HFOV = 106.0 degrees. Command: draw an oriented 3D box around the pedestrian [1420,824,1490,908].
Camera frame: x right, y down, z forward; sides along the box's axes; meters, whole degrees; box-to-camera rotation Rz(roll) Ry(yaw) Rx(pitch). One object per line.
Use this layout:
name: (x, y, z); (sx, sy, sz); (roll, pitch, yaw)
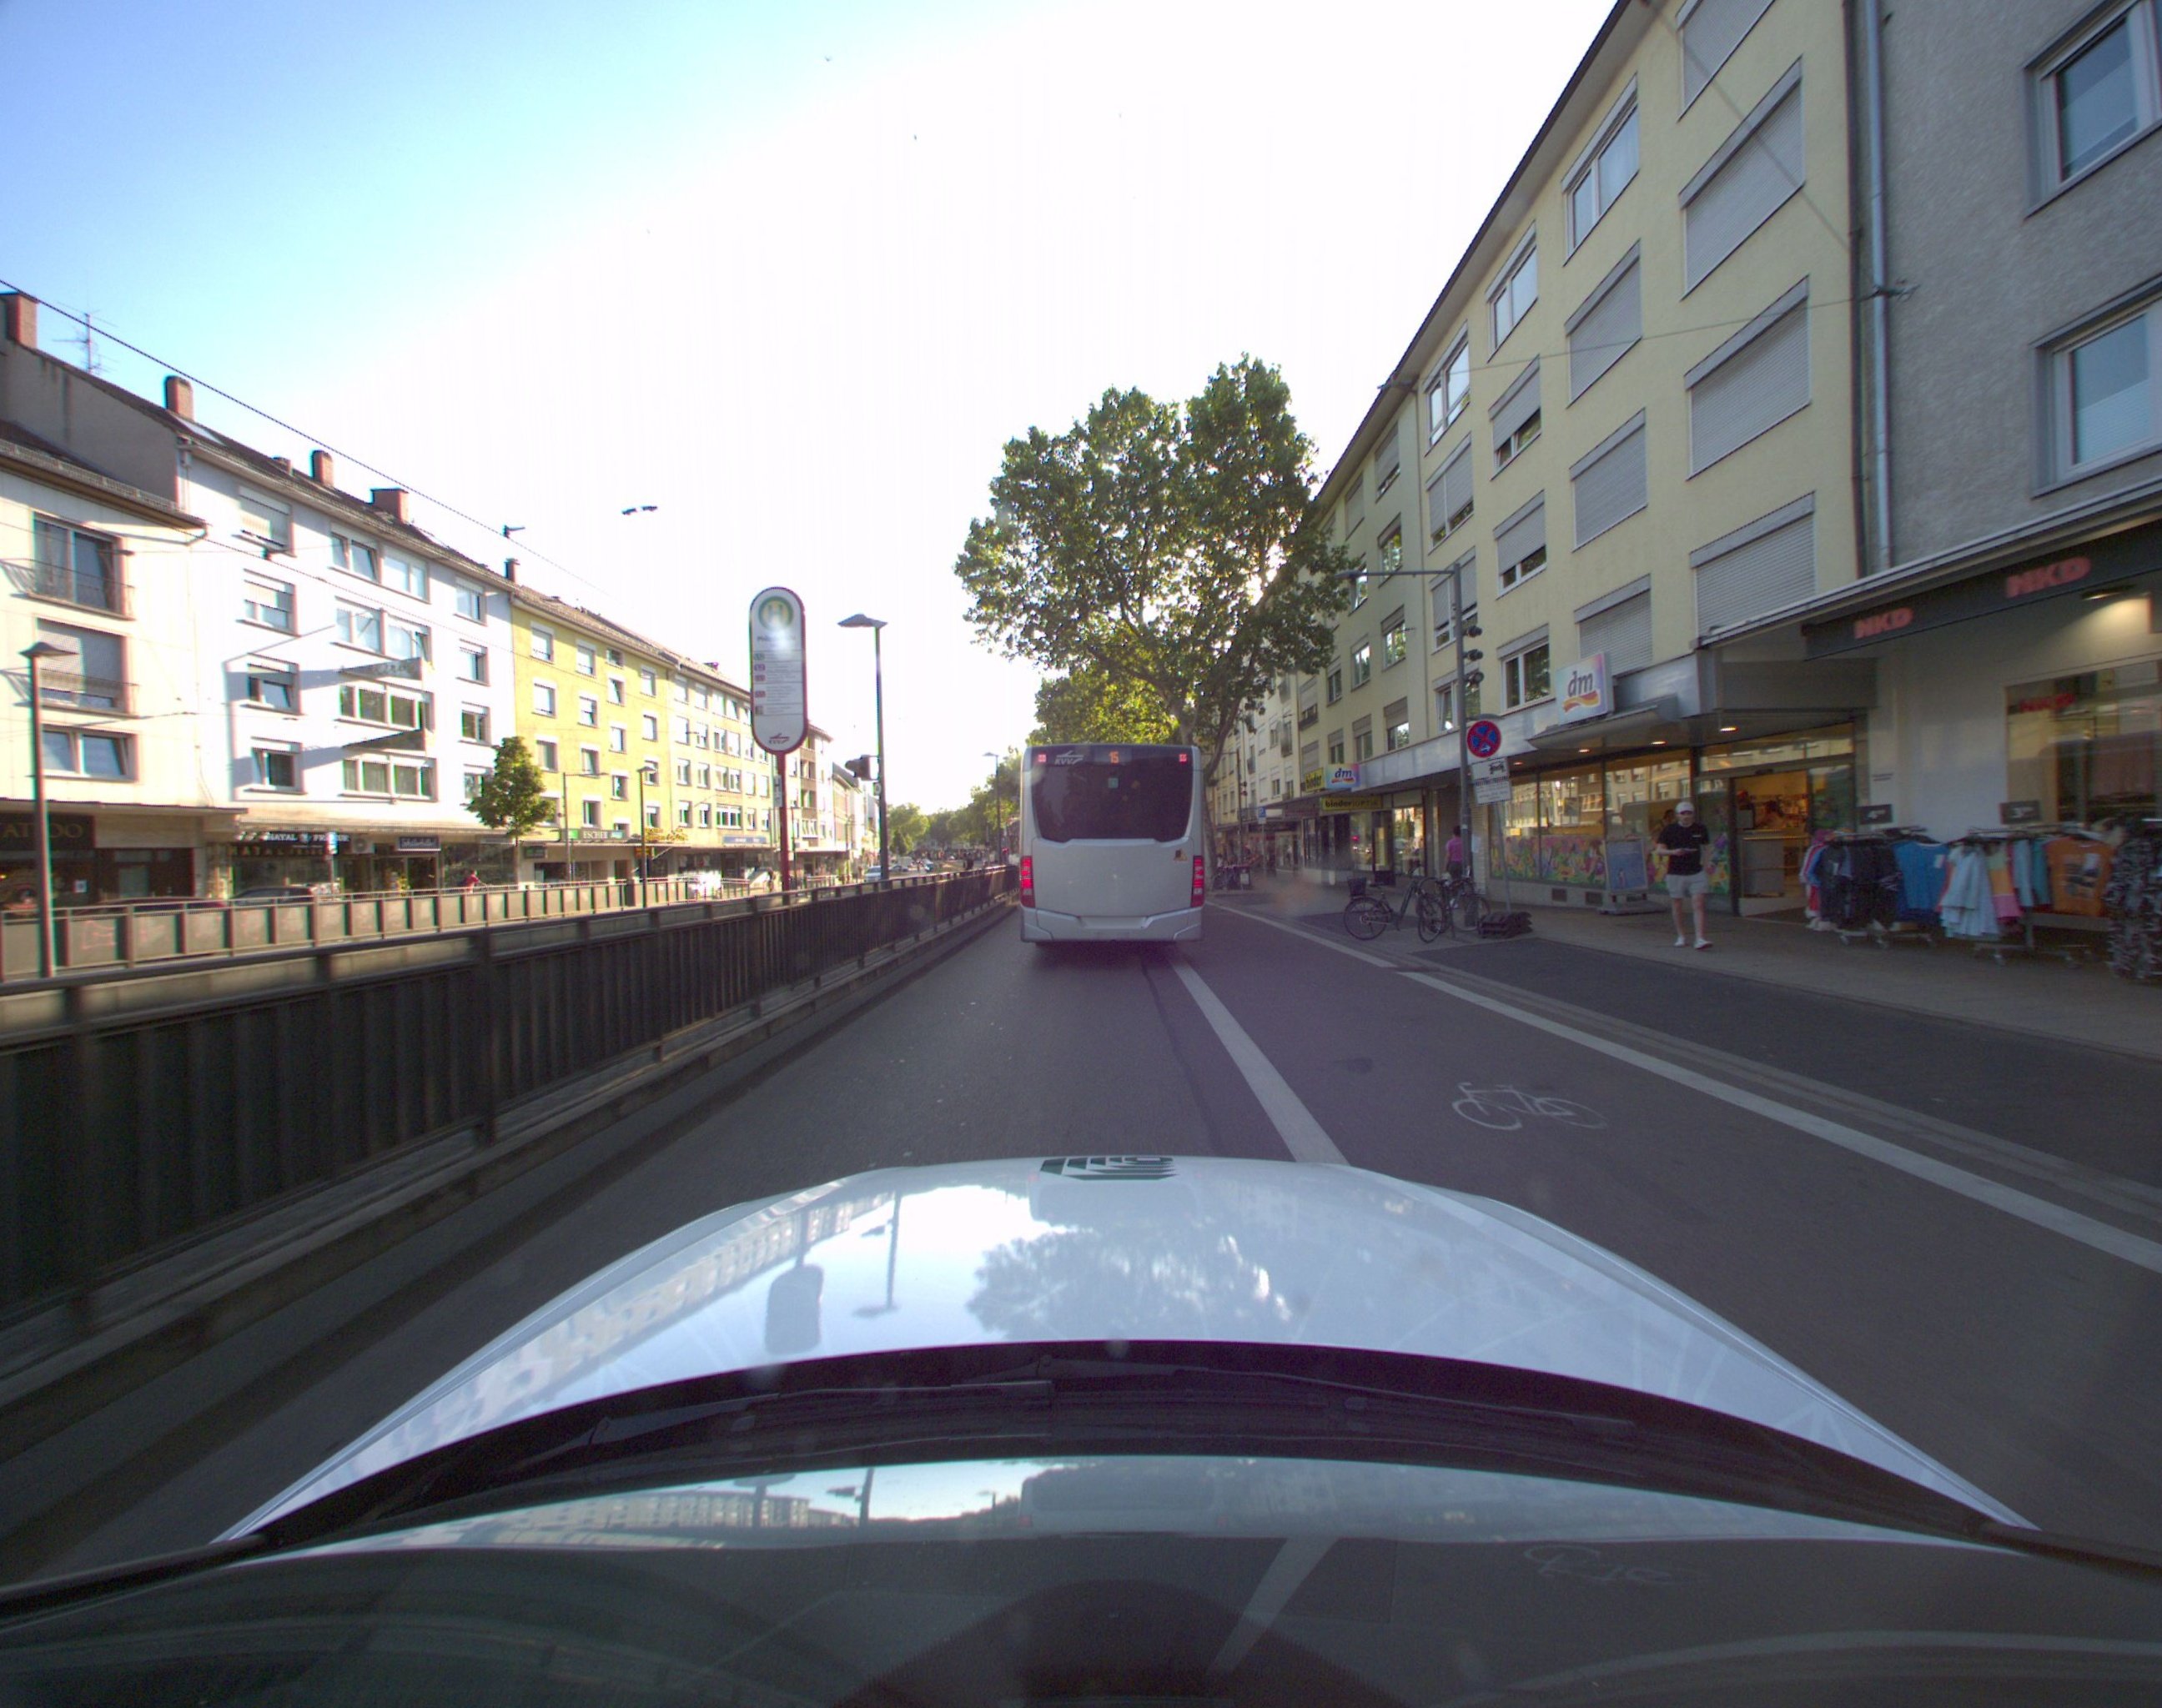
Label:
pedestrian: (8.233, 0.265, 17.981); (0.964, 1.763, 1.134); (-3, -1, 1)

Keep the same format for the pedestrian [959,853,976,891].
pedestrian: (-5.641, 0.880, 40.559); (0.740, 1.849, 0.589); (-2, 0, -5)

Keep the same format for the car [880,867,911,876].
car: (-31.293, 2.909, 137.380); (4.577, 1.412, 1.976); (-1, -1, -43)

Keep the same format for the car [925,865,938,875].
car: (-24.041, 2.594, 131.079); (1.720, 1.509, 3.469); (-4, 0, -5)

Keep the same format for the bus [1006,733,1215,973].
bus: (0.330, -0.002, 14.267); (2.670, 3.083, 7.110); (-2, 0, -1)

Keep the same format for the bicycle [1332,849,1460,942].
bicycle: (5.263, 0.692, 13.723); (1.775, 1.311, 0.696); (-8, -1, 12)

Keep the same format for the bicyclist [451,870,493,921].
bicyclist: (-23.465, 1.576, 31.387); (0.689, 1.886, 1.059); (2, 0, 6)

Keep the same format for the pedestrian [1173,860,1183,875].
pedestrian: (7.842, 1.108, 65.942); (0.605, 1.225, 0.743); (-1, -1, -6)

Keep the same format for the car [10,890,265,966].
car: (-22.160, 1.663, 19.296); (1.840, 1.491, 3.793); (0, -1, 39)

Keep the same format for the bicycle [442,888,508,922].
bicycle: (-23.455, 1.951, 31.590); (0.702, 1.159, 2.202); (2, 1, 6)

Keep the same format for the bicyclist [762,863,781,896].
bicyclist: (-19.842, 1.630, 52.226); (0.761, 2.013, 0.911); (-2, 0, 0)

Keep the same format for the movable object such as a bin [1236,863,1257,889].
movable object such as a bin: (7.003, 0.935, 34.519); (0.716, 1.072, 0.647); (-4, -1, 19)

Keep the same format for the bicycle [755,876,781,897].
bicycle: (-19.857, 2.026, 51.697); (0.715, 1.230, 2.278); (-2, 0, 0)

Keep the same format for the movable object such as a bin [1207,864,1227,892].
movable object such as a bin: (5.790, 1.014, 34.772); (0.718, 1.102, 0.645); (-6, -1, 7)

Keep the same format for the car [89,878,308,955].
car: (-23.341, 1.565, 21.648); (1.840, 1.800, 3.793); (0, -1, 39)

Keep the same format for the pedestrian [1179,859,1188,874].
pedestrian: (8.490, 1.051, 67.638); (0.582, 1.275, 0.757); (0, -1, -6)

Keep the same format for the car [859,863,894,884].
car: (-18.294, 1.673, 72.888); (1.987, 1.717, 4.434); (-2, 0, -1)

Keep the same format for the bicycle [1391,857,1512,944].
bicycle: (5.867, 0.712, 12.871); (1.797, 1.124, 0.658); (-7, 0, -27)

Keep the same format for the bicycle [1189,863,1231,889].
bicycle: (6.169, 1.054, 38.998); (1.897, 1.105, 0.519); (-4, -1, 6)

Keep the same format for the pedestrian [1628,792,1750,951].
pedestrian: (7.390, 0.206, 9.952); (0.767, 1.800, 0.934); (-5, 0, 14)

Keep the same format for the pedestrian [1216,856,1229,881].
pedestrian: (9.197, 0.920, 53.047); (0.620, 1.586, 0.626); (-4, -1, -1)

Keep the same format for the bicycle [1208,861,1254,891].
bicycle: (6.060, 0.884, 32.953); (1.711, 1.118, 0.745); (-2, -4, 1)

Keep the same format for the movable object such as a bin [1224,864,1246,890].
movable object such as a bin: (6.611, 0.983, 34.929); (0.720, 1.072, 0.643); (-4, -1, -2)
